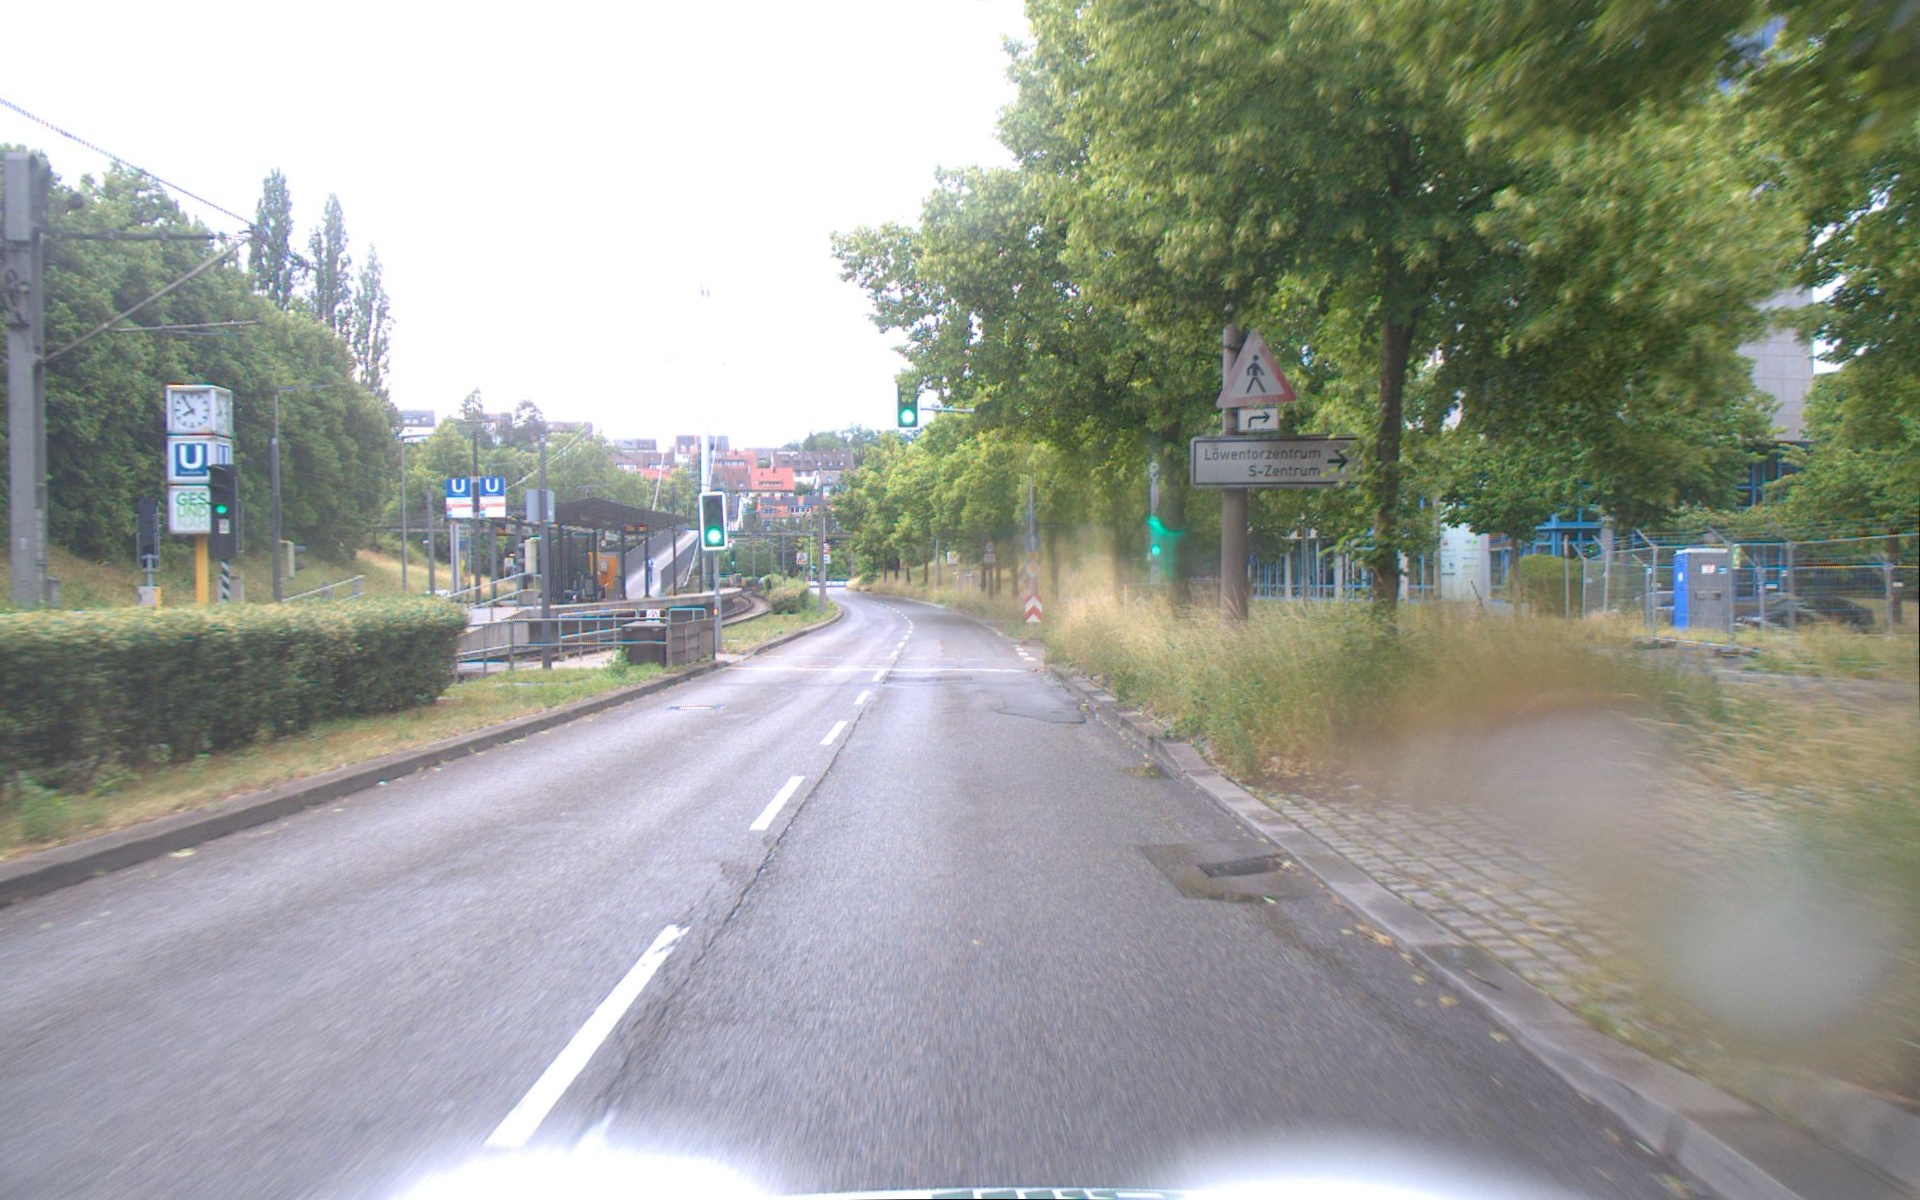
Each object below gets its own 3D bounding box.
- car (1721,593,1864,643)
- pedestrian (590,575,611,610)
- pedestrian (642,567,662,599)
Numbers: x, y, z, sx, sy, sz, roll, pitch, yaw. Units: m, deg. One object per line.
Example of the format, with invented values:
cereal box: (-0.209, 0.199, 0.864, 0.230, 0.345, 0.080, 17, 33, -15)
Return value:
car: (28.438, 0.610, 56.568, 4.010, 1.606, 1.759, 0, 2, 4)
pedestrian: (-14.396, -0.295, 66.219, 0.738, 1.379, 0.691, 0, 0, -5)
pedestrian: (-15.940, -0.878, 85.712, 0.916, 1.639, 1.026, 0, 0, -5)
